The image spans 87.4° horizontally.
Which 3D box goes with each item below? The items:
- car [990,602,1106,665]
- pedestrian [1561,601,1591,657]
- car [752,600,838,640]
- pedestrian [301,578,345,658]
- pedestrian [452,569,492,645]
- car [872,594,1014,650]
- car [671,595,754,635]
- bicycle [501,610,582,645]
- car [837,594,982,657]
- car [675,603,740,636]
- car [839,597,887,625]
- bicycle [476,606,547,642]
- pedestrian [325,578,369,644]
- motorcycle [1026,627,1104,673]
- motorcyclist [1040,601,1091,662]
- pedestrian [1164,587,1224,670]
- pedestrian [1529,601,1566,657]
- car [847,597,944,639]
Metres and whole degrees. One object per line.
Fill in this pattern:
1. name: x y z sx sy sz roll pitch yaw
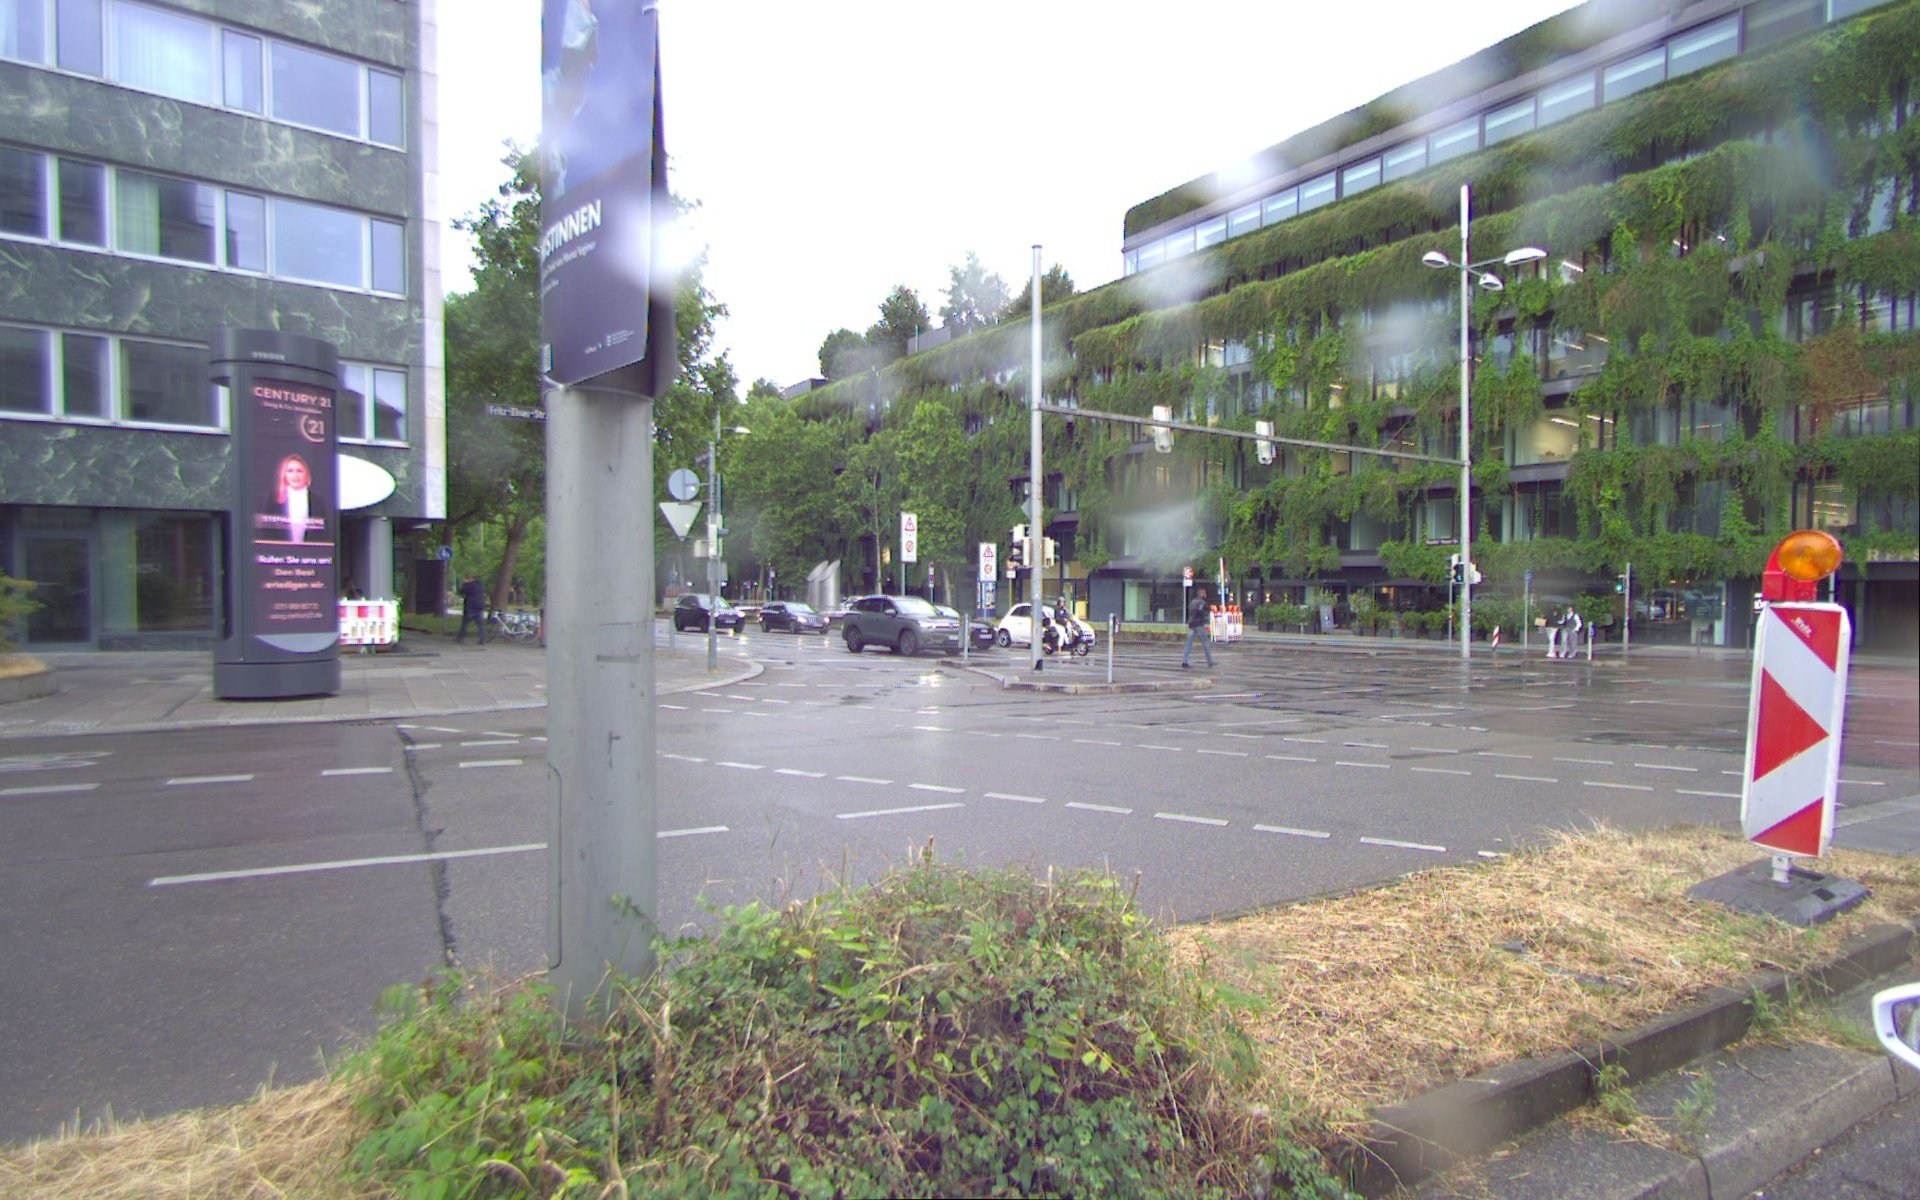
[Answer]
1. car: 2.881 1.063 33.274 1.985 1.948 3.417 1 0 -42
2. pedestrian: 19.980 0.943 32.590 0.731 1.781 0.972 1 0 37
3. car: -7.542 0.893 45.734 1.986 1.674 4.050 3 -1 -42
4. pedestrian: -15.580 0.457 24.553 0.868 1.878 1.015 1 -4 -34
5. pedestrian: -12.673 0.189 26.076 0.887 1.909 0.781 1 -4 -30
6. car: -0.618 0.672 32.801 1.957 1.674 4.755 1 0 -43
7. car: -11.309 0.656 45.779 1.986 1.674 4.050 3 -1 -42
8. bicycle: -12.128 0.795 29.161 2.170 0.967 0.423 2 -1 -44
9. car: -1.520 0.686 29.061 1.985 1.674 4.186 1 0 -42
10. car: -13.702 1.021 54.307 1.805 1.674 4.053 3 -1 -40
11. car: -7.513 0.829 77.302 1.979 2.040 4.073 1 -1 -34
12. bicycle: -12.395 0.660 27.775 1.764 0.946 0.475 1 0 4
13. pedestrian: -15.458 0.289 25.352 0.912 1.606 0.828 1 -4 -30
14. motorcycle: 3.026 1.411 29.049 2.204 1.227 0.843 1 0 44
15. motorcyclist: 3.048 0.900 29.034 1.173 1.725 0.843 1 0 44
16. pedestrian: 5.626 0.675 24.143 1.225 1.910 0.685 1 2 -34
17. pedestrian: 19.341 0.951 33.065 0.923 1.781 1.167 1 0 37
18. car: -2.597 0.675 39.684 1.858 1.543 3.855 1 0 -42
